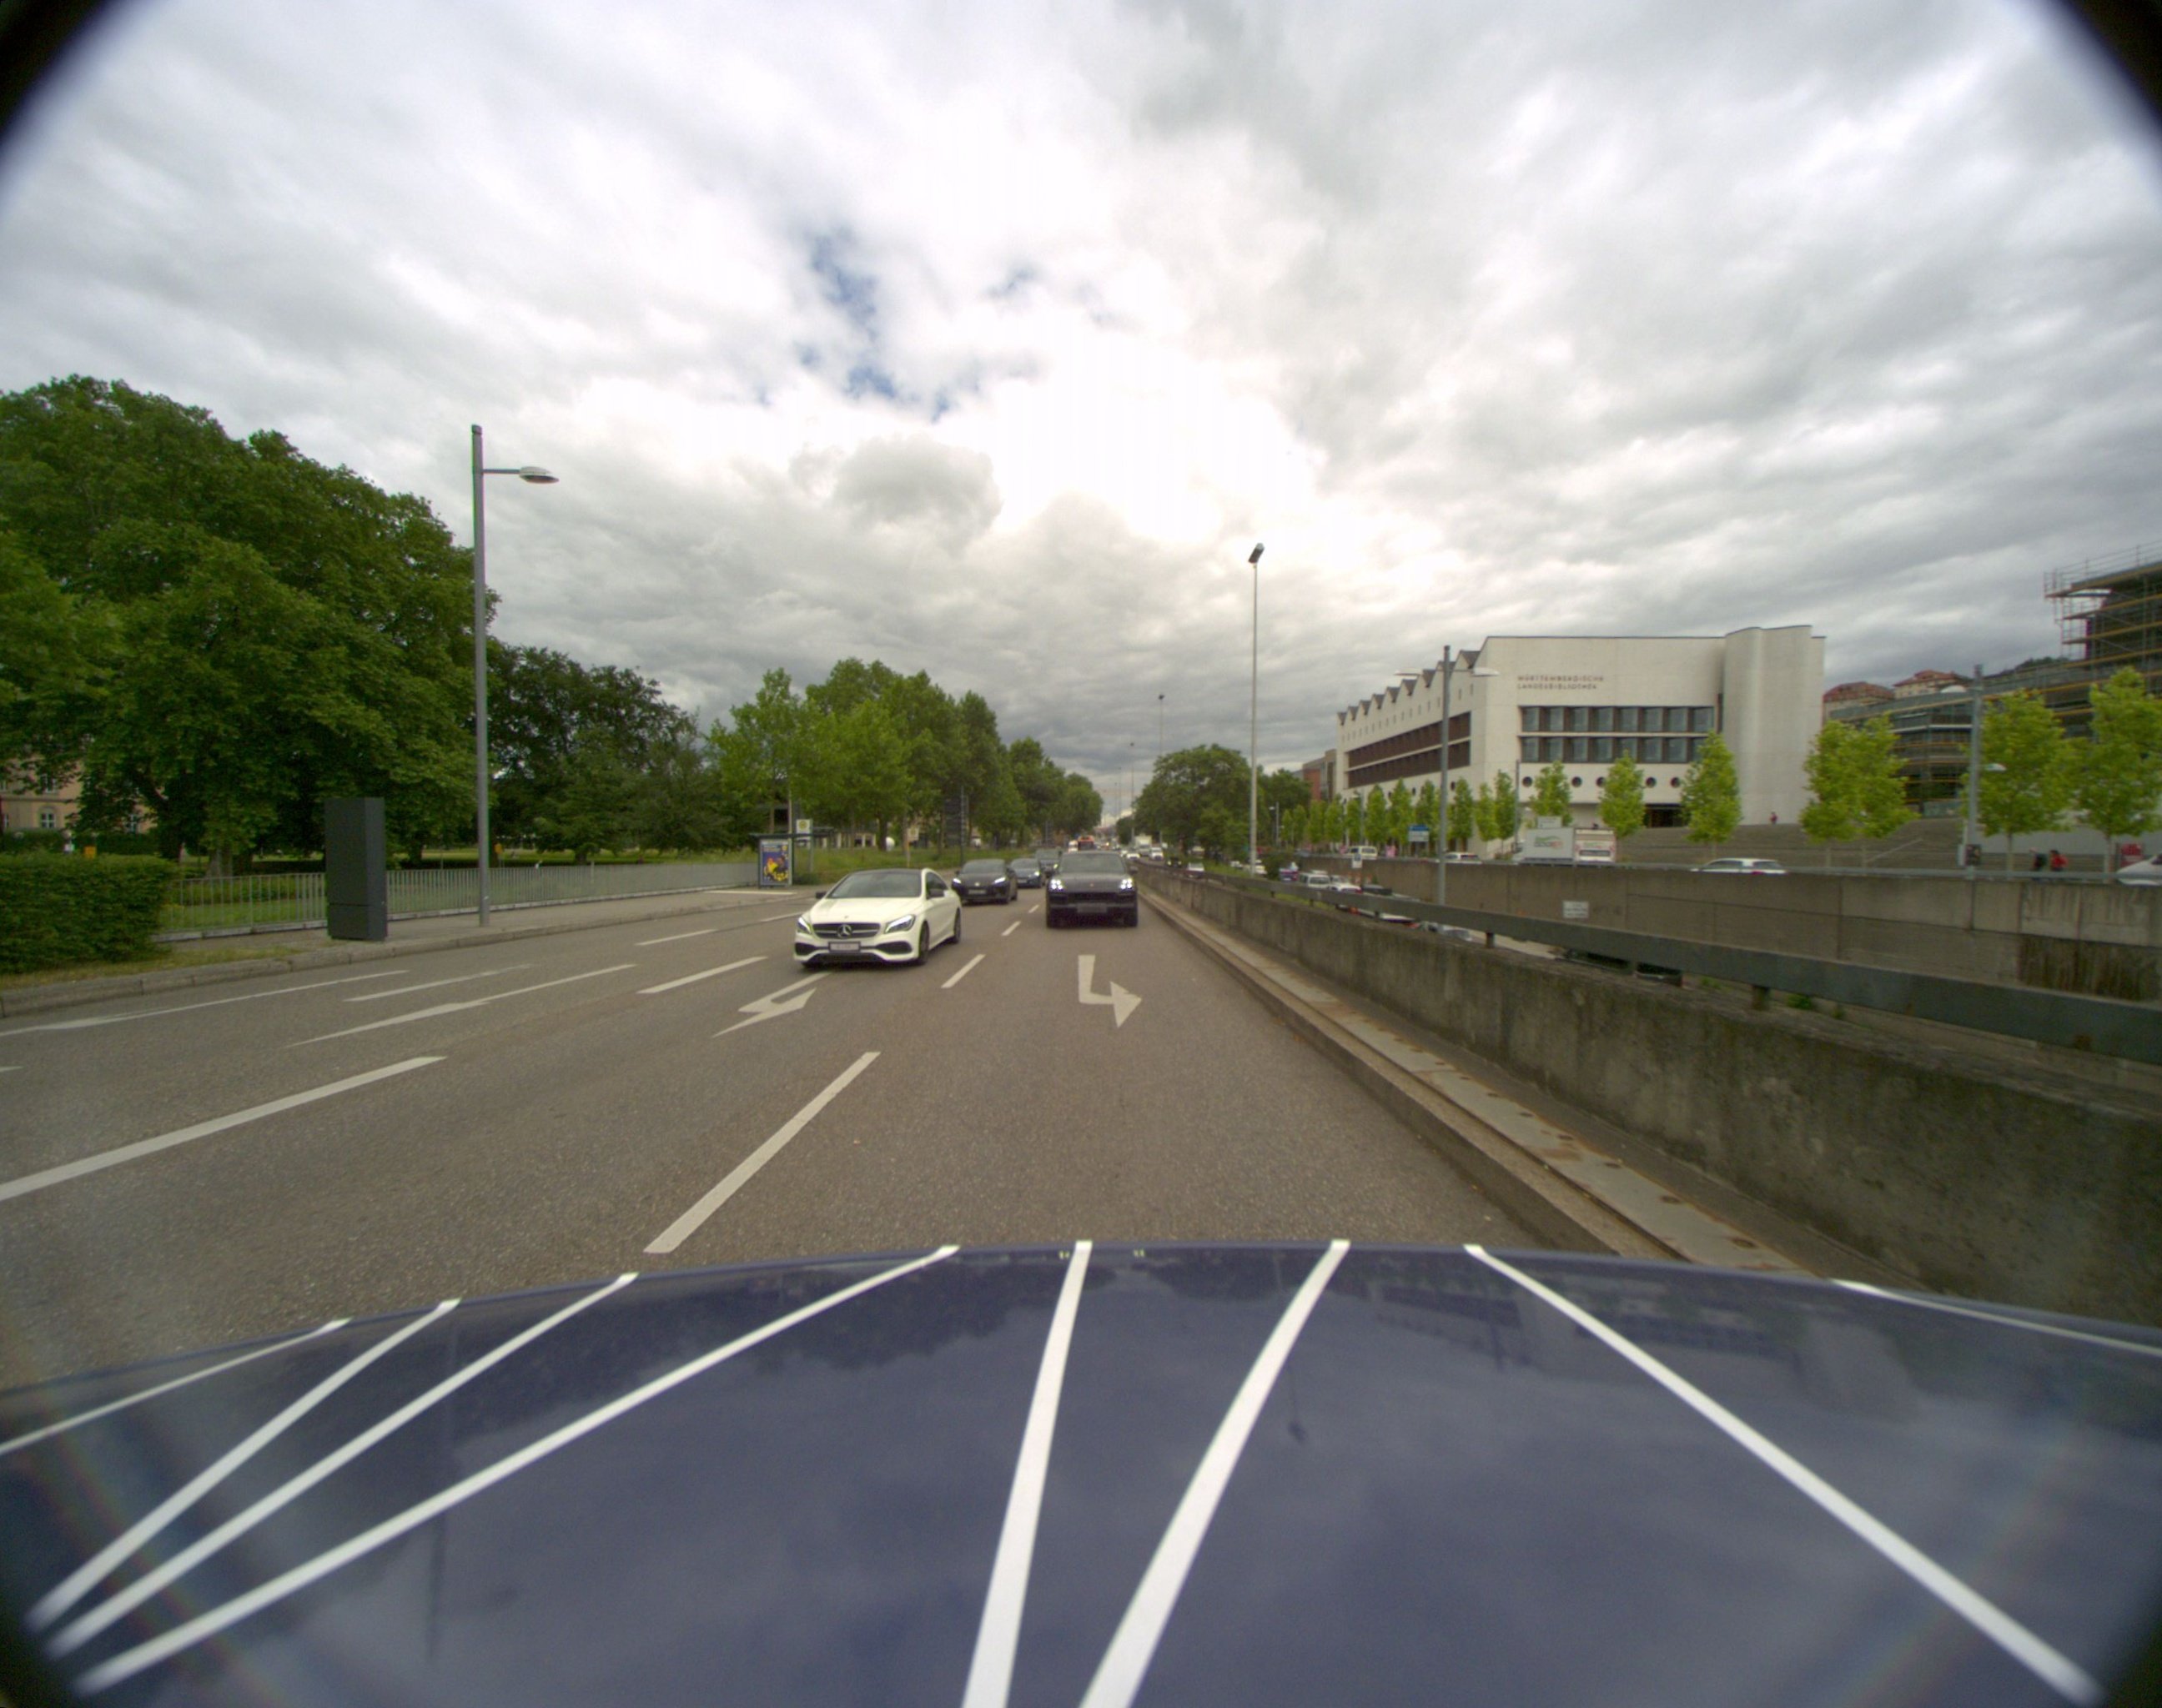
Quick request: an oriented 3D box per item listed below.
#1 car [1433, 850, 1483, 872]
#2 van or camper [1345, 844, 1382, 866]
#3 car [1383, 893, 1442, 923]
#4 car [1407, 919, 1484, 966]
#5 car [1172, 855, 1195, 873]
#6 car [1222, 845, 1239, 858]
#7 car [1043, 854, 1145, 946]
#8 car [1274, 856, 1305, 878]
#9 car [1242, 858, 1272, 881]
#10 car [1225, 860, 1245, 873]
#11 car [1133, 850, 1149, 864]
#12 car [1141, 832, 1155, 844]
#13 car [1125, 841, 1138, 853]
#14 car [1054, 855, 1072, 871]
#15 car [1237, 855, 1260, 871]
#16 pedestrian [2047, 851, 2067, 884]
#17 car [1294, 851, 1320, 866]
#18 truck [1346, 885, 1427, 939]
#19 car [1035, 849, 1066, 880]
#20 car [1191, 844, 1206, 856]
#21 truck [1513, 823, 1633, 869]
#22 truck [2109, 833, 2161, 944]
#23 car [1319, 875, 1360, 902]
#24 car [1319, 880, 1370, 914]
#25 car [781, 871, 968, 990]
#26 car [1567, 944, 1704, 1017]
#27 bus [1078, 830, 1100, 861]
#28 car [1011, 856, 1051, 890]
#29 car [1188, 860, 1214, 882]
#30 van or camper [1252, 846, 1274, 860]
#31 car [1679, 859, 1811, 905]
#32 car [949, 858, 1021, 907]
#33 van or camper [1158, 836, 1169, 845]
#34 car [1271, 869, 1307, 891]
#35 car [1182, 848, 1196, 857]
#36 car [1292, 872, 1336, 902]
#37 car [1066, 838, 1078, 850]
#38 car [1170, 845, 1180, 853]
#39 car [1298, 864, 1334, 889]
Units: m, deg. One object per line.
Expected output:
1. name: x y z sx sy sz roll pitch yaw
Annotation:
1. car: 27.796 0.508 56.188 1.723 1.565 4.271 -1 0 2
2. van or camper: 27.751 0.117 74.754 1.998 2.002 4.557 -1 0 1
3. car: 20.924 3.396 48.146 1.998 1.543 4.000 -1 0 1
4. car: 17.413 4.192 36.475 1.794 1.805 3.928 -1 0 0
5. car: 11.377 1.088 84.358 1.998 2.002 4.000 -1 0 1
6. car: 23.874 -0.436 121.364 1.998 2.002 4.000 3 0 1
7. car: 0.284 0.889 16.919 1.937 1.668 4.679 -1 1 1
8. car: 20.970 1.265 76.543 1.998 2.002 4.000 3 0 1
9. car: 18.076 1.547 78.240 1.998 2.119 4.852 3 0 1
10. car: 17.944 1.417 88.439 1.675 1.477 3.361 0 0 1
11. car: 8.499 0.448 108.596 1.998 2.002 4.000 0 0 1
12. car: 11.355 -2.676 128.136 1.997 2.002 4.002 -1 0 9
13. car: 8.413 -1.110 127.444 1.998 2.002 4.000 0 0 1
14. car: -1.653 0.805 70.611 1.565 1.409 3.620 -1 0 1
15. car: 21.768 1.118 98.976 1.998 2.002 4.655 -1 0 1
16. pedestrian: 45.211 0.616 35.196 0.381 1.513 0.461 -2 1 -6
17. car: 27.642 0.529 93.036 1.998 1.805 4.000 -1 0 1
18. truck: 17.466 3.241 43.807 2.324 2.675 5.979 -1 0 1
19. car: -1.903 0.631 49.136 1.723 1.851 4.430 -1 1 1
20. car: 20.445 -0.630 132.778 1.998 2.002 4.000 -1 0 0
21. truck: 31.906 -0.442 49.698 3.239 2.771 7.254 -1 0 2
22. truck: 28.333 0.841 16.550 2.469 2.800 7.080 -1 0 2
23. car: 21.452 2.828 63.140 1.998 2.002 4.000 3 0 1
24. car: 17.773 2.837 51.396 1.998 2.002 4.000 3 0 1
25. car: -3.085 1.072 12.370 1.723 1.415 4.506 -1 1 1
26. car: 20.259 4.566 28.014 1.998 1.944 4.229 -1 0 1
27. bus: 1.065 -1.290 112.008 3.043 4.327 8.748 -1 1 0
28. car: -2.412 0.874 37.496 1.573 1.528 4.001 -1 1 2
29. car: 11.923 1.638 75.648 1.998 2.002 3.999 1 2 1
30. van or camper: 26.291 -0.075 109.747 1.999 2.002 4.557 -1 0 -1
31. car: 28.331 1.145 32.625 1.998 1.805 4.258 -1 0 1
32. car: -3.140 0.896 25.734 1.829 1.515 4.120 -1 0 1
33. van or camper: 17.692 -2.872 162.751 2.036 2.002 4.000 -1 0 1
34. car: 18.312 2.231 66.981 1.998 1.733 4.282 3 0 1
35. car: 17.280 -0.215 121.744 1.675 1.477 3.362 -1 0 1
36. car: 17.822 2.474 58.317 1.998 2.002 4.333 3 0 1
37. car: -1.615 -1.813 134.507 1.998 2.002 3.999 -1 0 0
38. car: 17.912 -0.861 144.850 1.675 1.477 3.362 -1 0 1
39. car: 21.284 2.021 68.937 1.998 2.002 4.000 3 0 1
